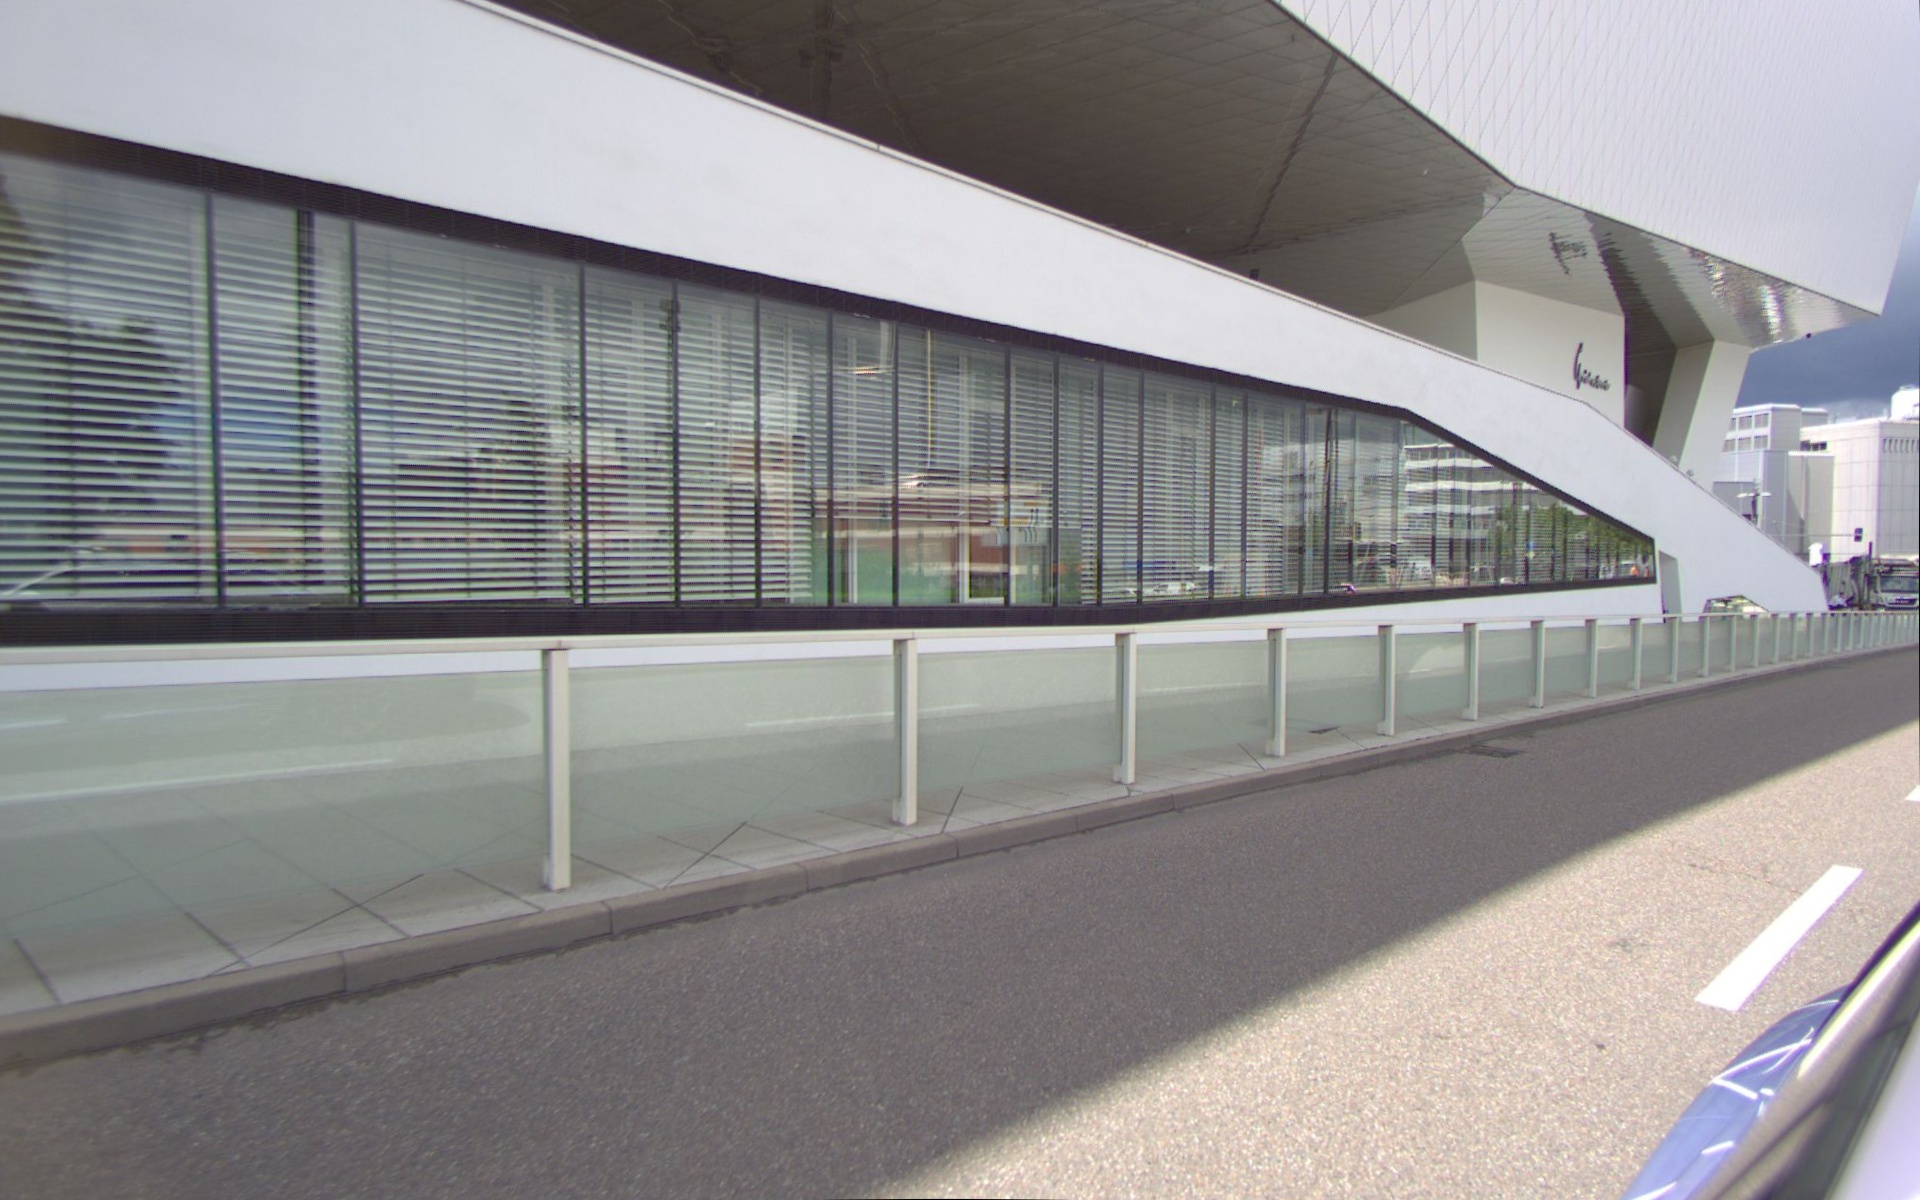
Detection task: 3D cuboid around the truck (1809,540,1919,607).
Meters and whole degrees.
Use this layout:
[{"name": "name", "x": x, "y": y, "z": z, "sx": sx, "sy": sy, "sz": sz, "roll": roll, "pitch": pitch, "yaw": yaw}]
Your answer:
[{"name": "truck", "x": 55.770, "y": -1.634, "z": 61.639, "sx": 2.811, "sy": 3.736, "sz": 10.680, "roll": 2, "pitch": 2, "yaw": 21}]

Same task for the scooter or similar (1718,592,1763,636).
[{"name": "scooter or similar", "x": 23.317, "y": 0.406, "z": 30.221, "sx": 1.919, "sy": 1.258, "sz": 0.707, "roll": -1, "pitch": 2, "yaw": -41}]
